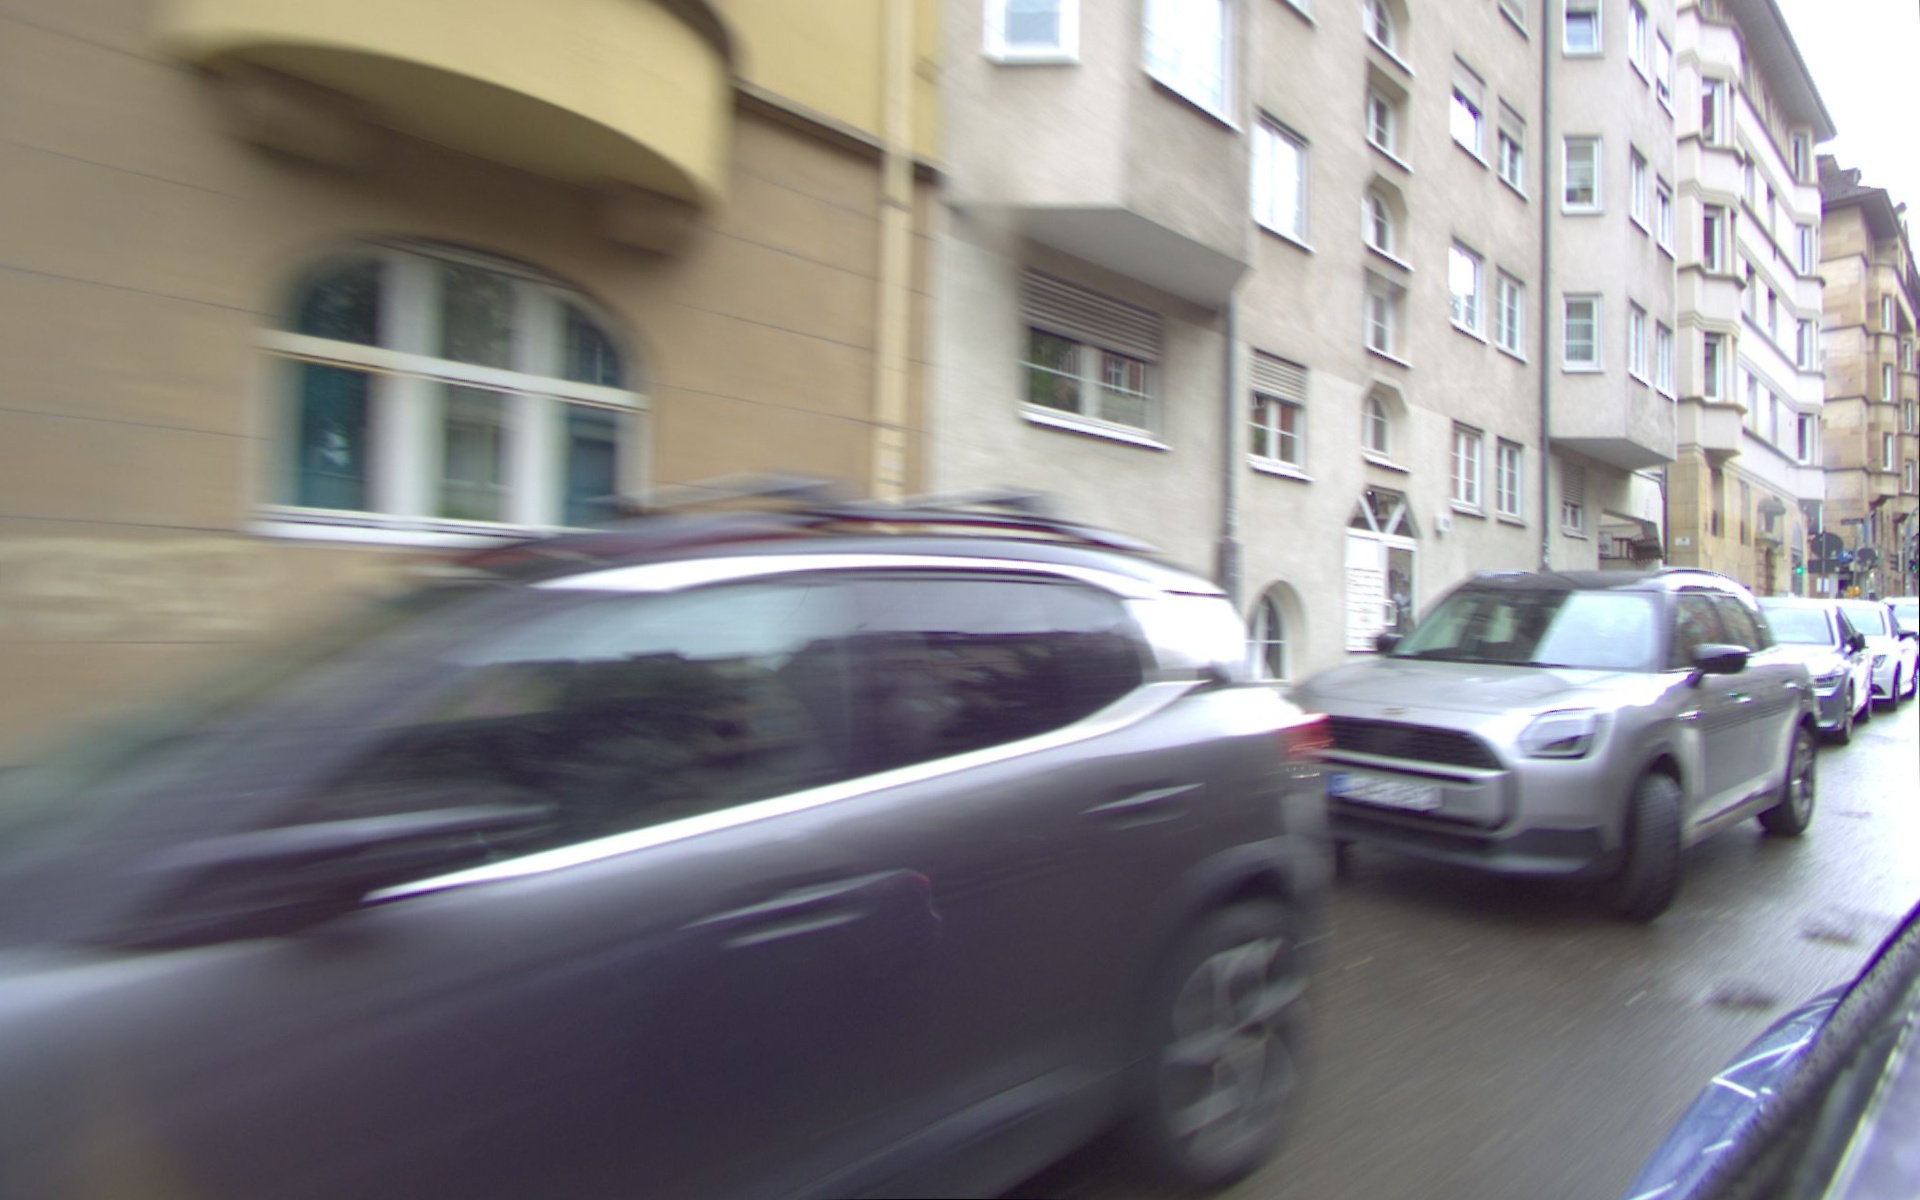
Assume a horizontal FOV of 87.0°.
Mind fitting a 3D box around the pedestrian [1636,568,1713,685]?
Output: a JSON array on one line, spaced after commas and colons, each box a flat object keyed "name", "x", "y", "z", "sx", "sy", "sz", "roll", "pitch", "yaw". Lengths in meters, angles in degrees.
[{"name": "pedestrian", "x": 10.751, "y": 0.370, "z": 15.240, "sx": 0.741, "sy": 1.708, "sz": 0.805, "roll": -1, "pitch": 1, "yaw": -42}]

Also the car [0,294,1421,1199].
[{"name": "car", "x": -0.848, "y": 0.546, "z": 2.313, "sx": 4.469, "sy": 1.771, "sz": 1.781, "roll": -1, "pitch": 2, "yaw": -41}]

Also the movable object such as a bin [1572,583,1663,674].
[{"name": "movable object such as a bin", "x": 11.302, "y": 0.450, "z": 17.393, "sx": 1.300, "sy": 1.486, "sz": 1.019, "roll": -1, "pitch": 1, "yaw": -42}]

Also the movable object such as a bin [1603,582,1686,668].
[{"name": "movable object such as a bin", "x": 12.411, "y": 0.422, "z": 18.358, "sx": 1.251, "sy": 1.486, "sz": 0.981, "roll": -1, "pitch": 1, "yaw": -42}]

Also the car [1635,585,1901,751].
[{"name": "car", "x": 9.327, "y": 0.599, "z": 11.551, "sx": 4.303, "sy": 1.486, "sz": 1.833, "roll": -2, "pitch": 2, "yaw": -44}]

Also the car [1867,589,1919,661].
[{"name": "car", "x": 22.292, "y": 0.517, "z": 23.195, "sx": 4.691, "sy": 1.486, "sz": 1.715, "roll": -1, "pitch": 2, "yaw": -41}]

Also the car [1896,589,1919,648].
[{"name": "car", "x": 26.248, "y": 0.458, "z": 26.684, "sx": 4.732, "sy": 1.428, "sz": 1.714, "roll": -1, "pitch": 2, "yaw": -40}]

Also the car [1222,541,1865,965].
[{"name": "car", "x": 3.753, "y": 0.529, "z": 6.091, "sx": 4.676, "sy": 1.628, "sz": 1.845, "roll": -1, "pitch": 2, "yaw": -40}]

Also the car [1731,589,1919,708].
[{"name": "car", "x": 12.740, "y": 0.583, "z": 14.620, "sx": 4.320, "sy": 1.403, "sz": 1.792, "roll": -1, "pitch": 2, "yaw": -42}]
